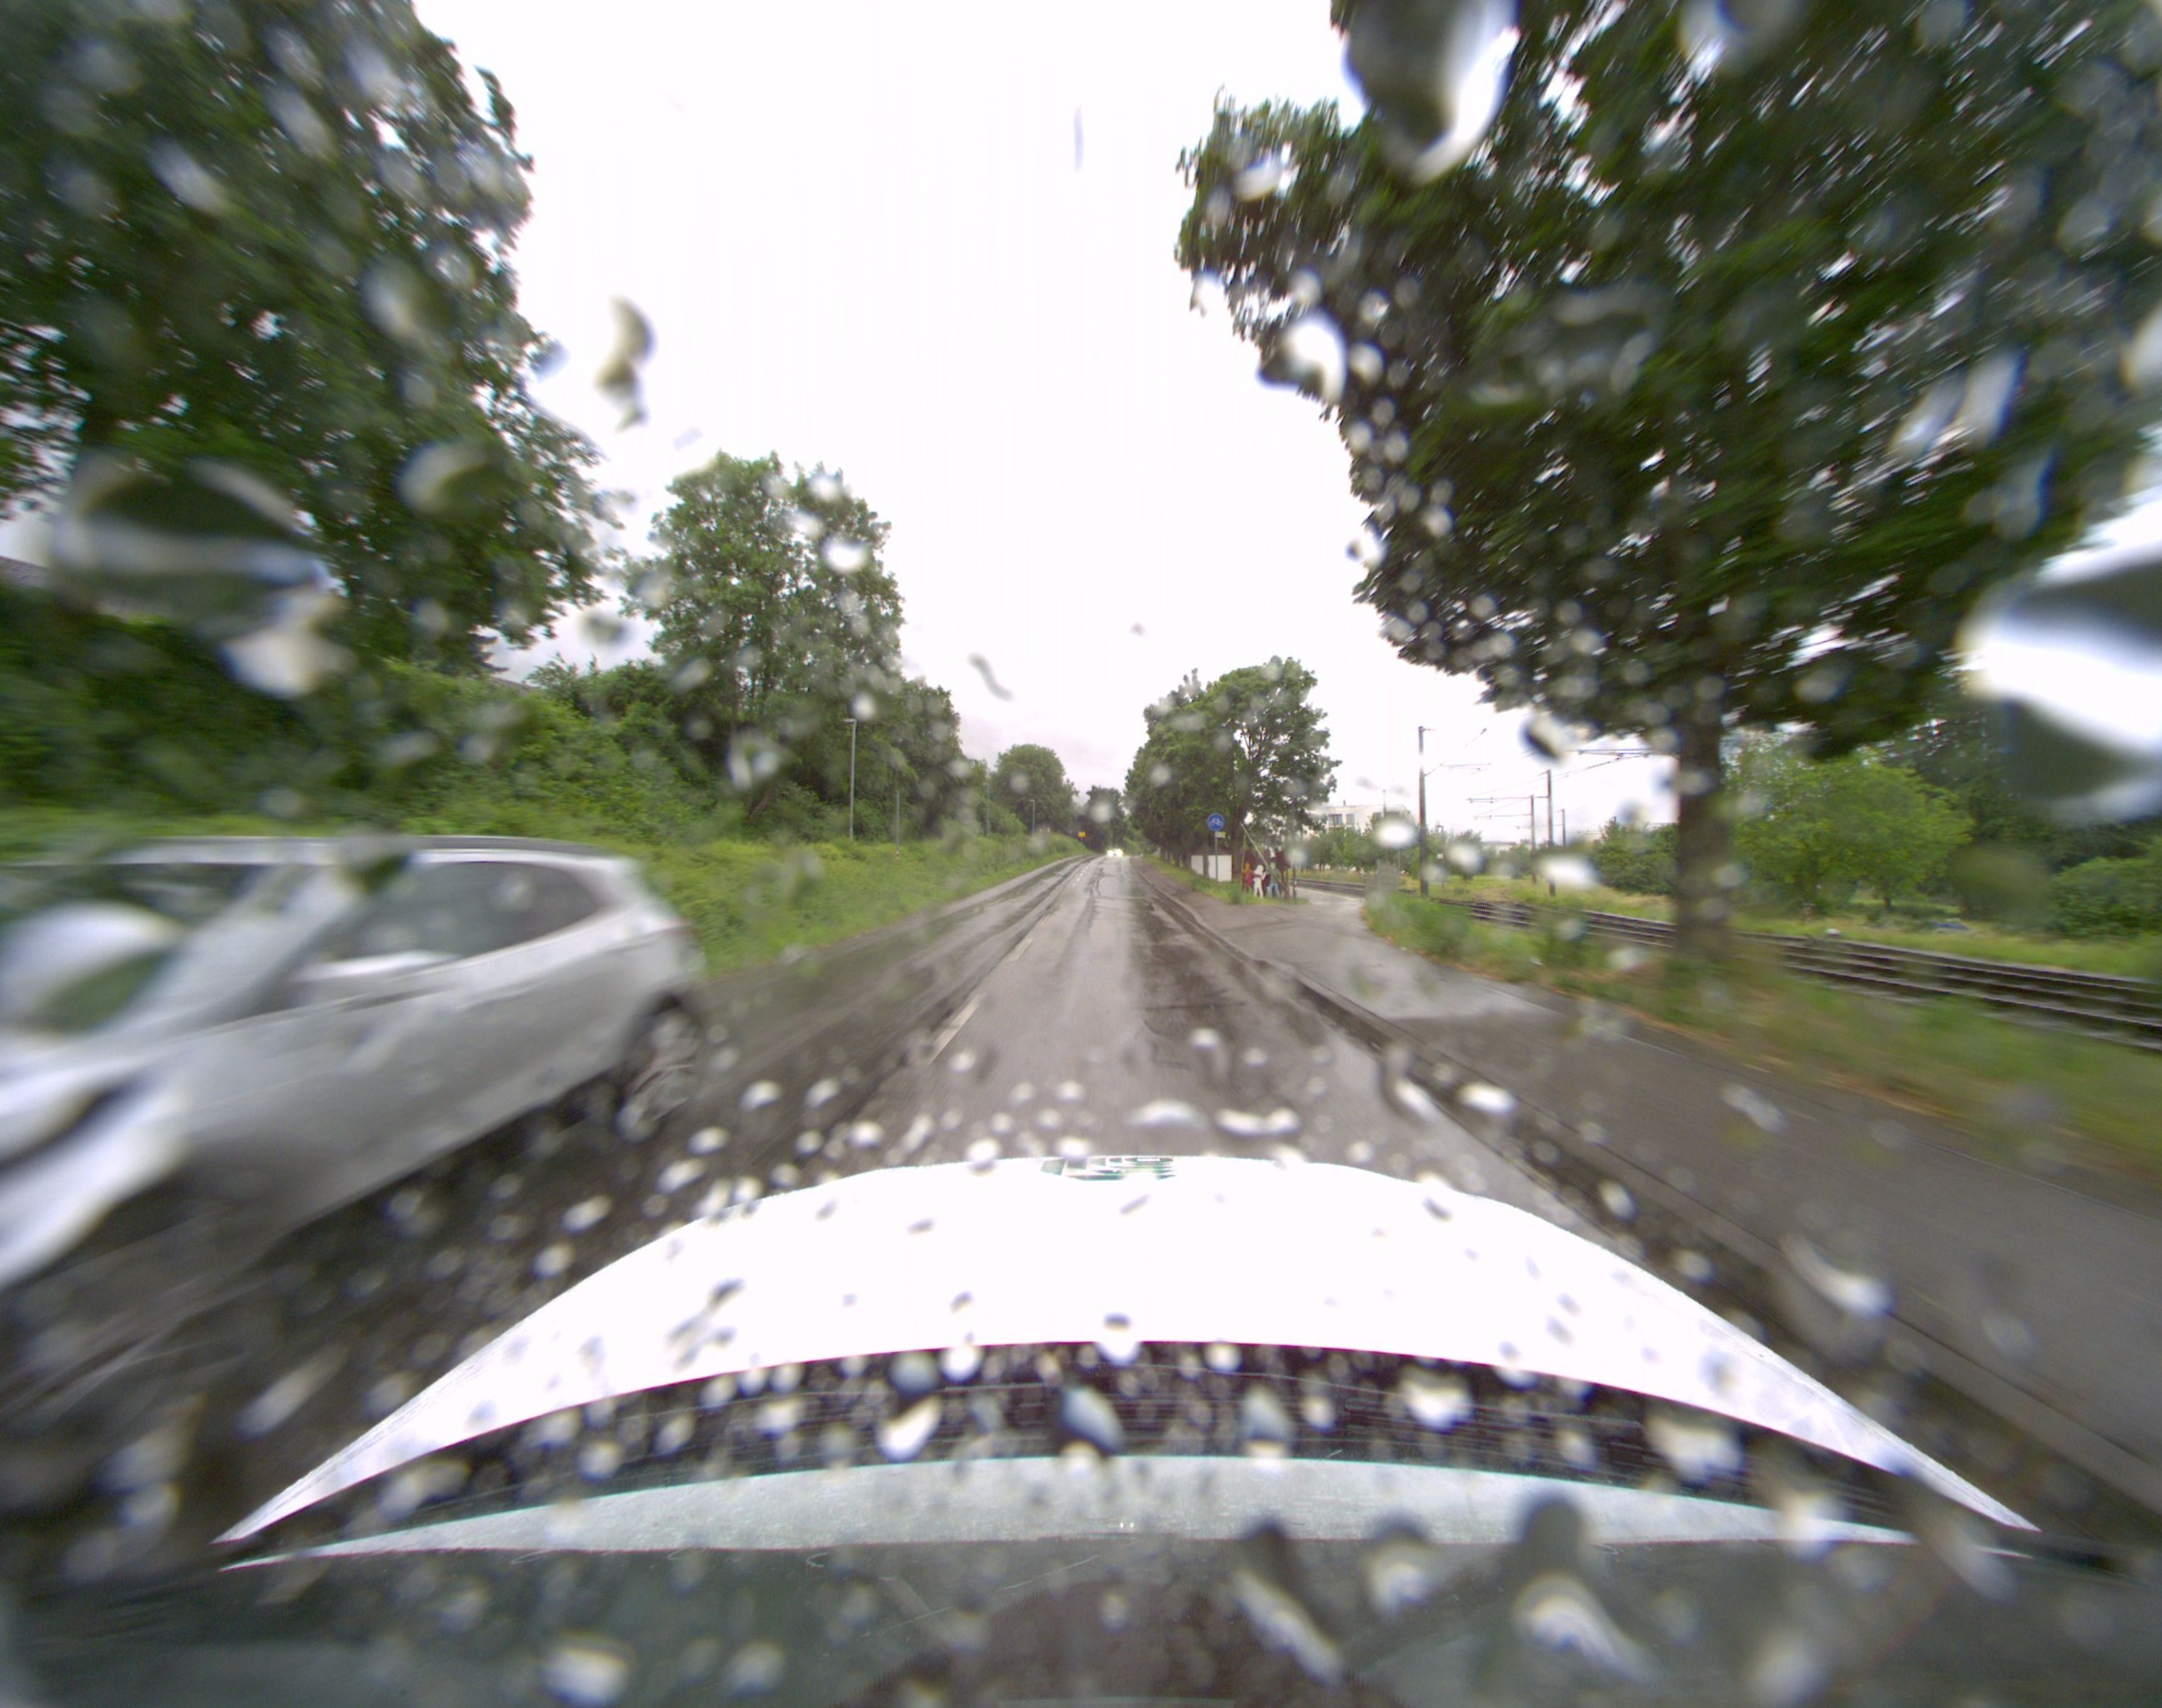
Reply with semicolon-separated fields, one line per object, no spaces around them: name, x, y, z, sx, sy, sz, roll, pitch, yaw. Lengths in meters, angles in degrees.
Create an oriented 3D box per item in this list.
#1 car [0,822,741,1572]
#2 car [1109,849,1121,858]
car;-3.166;0.725;3.370;1.738;1.612;4.088;0;0;1
car;5.556;-0.072;131.839;1.650;1.543;4.094;0;0;5
